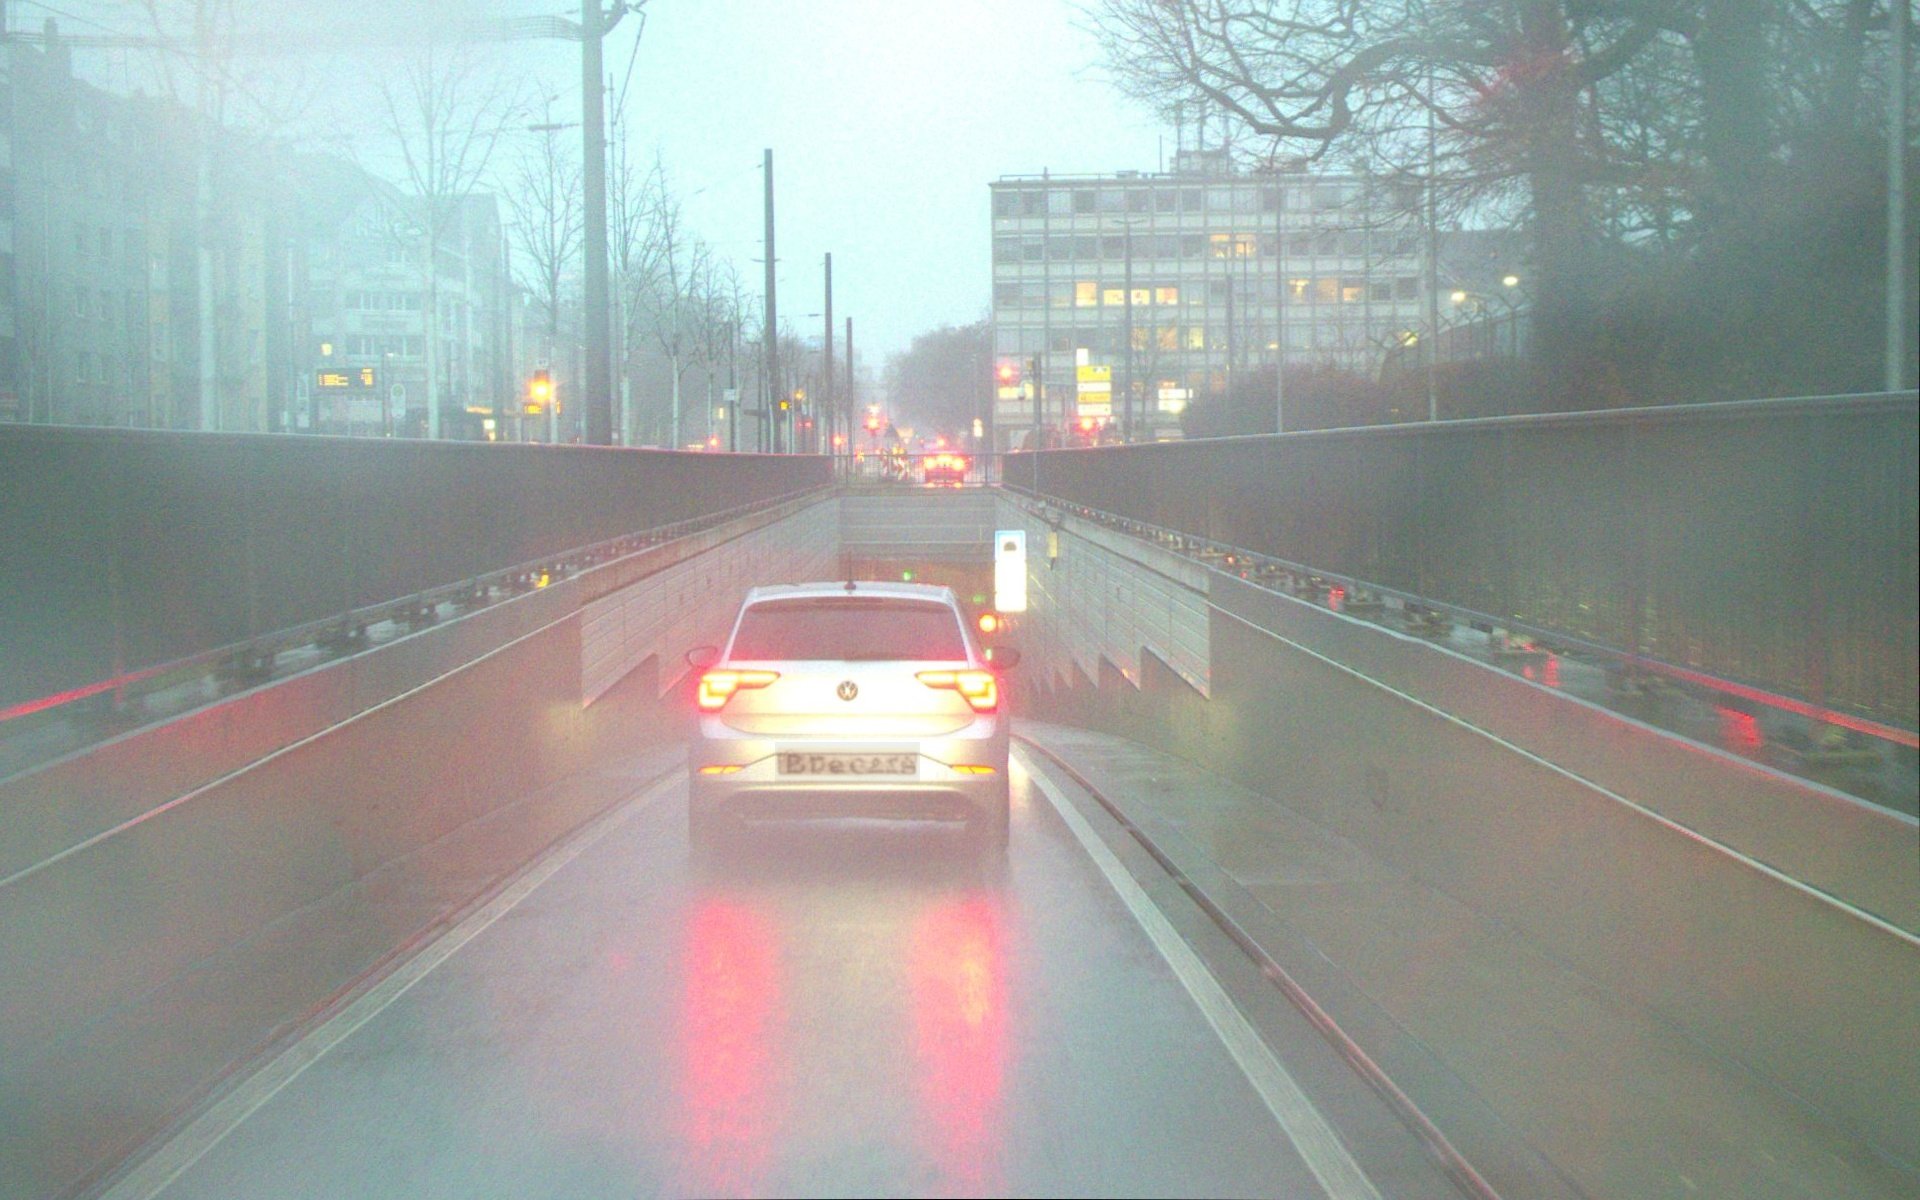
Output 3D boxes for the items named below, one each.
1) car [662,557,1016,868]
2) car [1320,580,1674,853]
[{"bbox_3d":[-0.575,0.541,19.244,1.722,1.474,4.000,1,1,1],"label":"car"},{"bbox_3d":[3.404,0.684,22.463,1.722,1.474,4.000,1,2,1],"label":"car"}]
